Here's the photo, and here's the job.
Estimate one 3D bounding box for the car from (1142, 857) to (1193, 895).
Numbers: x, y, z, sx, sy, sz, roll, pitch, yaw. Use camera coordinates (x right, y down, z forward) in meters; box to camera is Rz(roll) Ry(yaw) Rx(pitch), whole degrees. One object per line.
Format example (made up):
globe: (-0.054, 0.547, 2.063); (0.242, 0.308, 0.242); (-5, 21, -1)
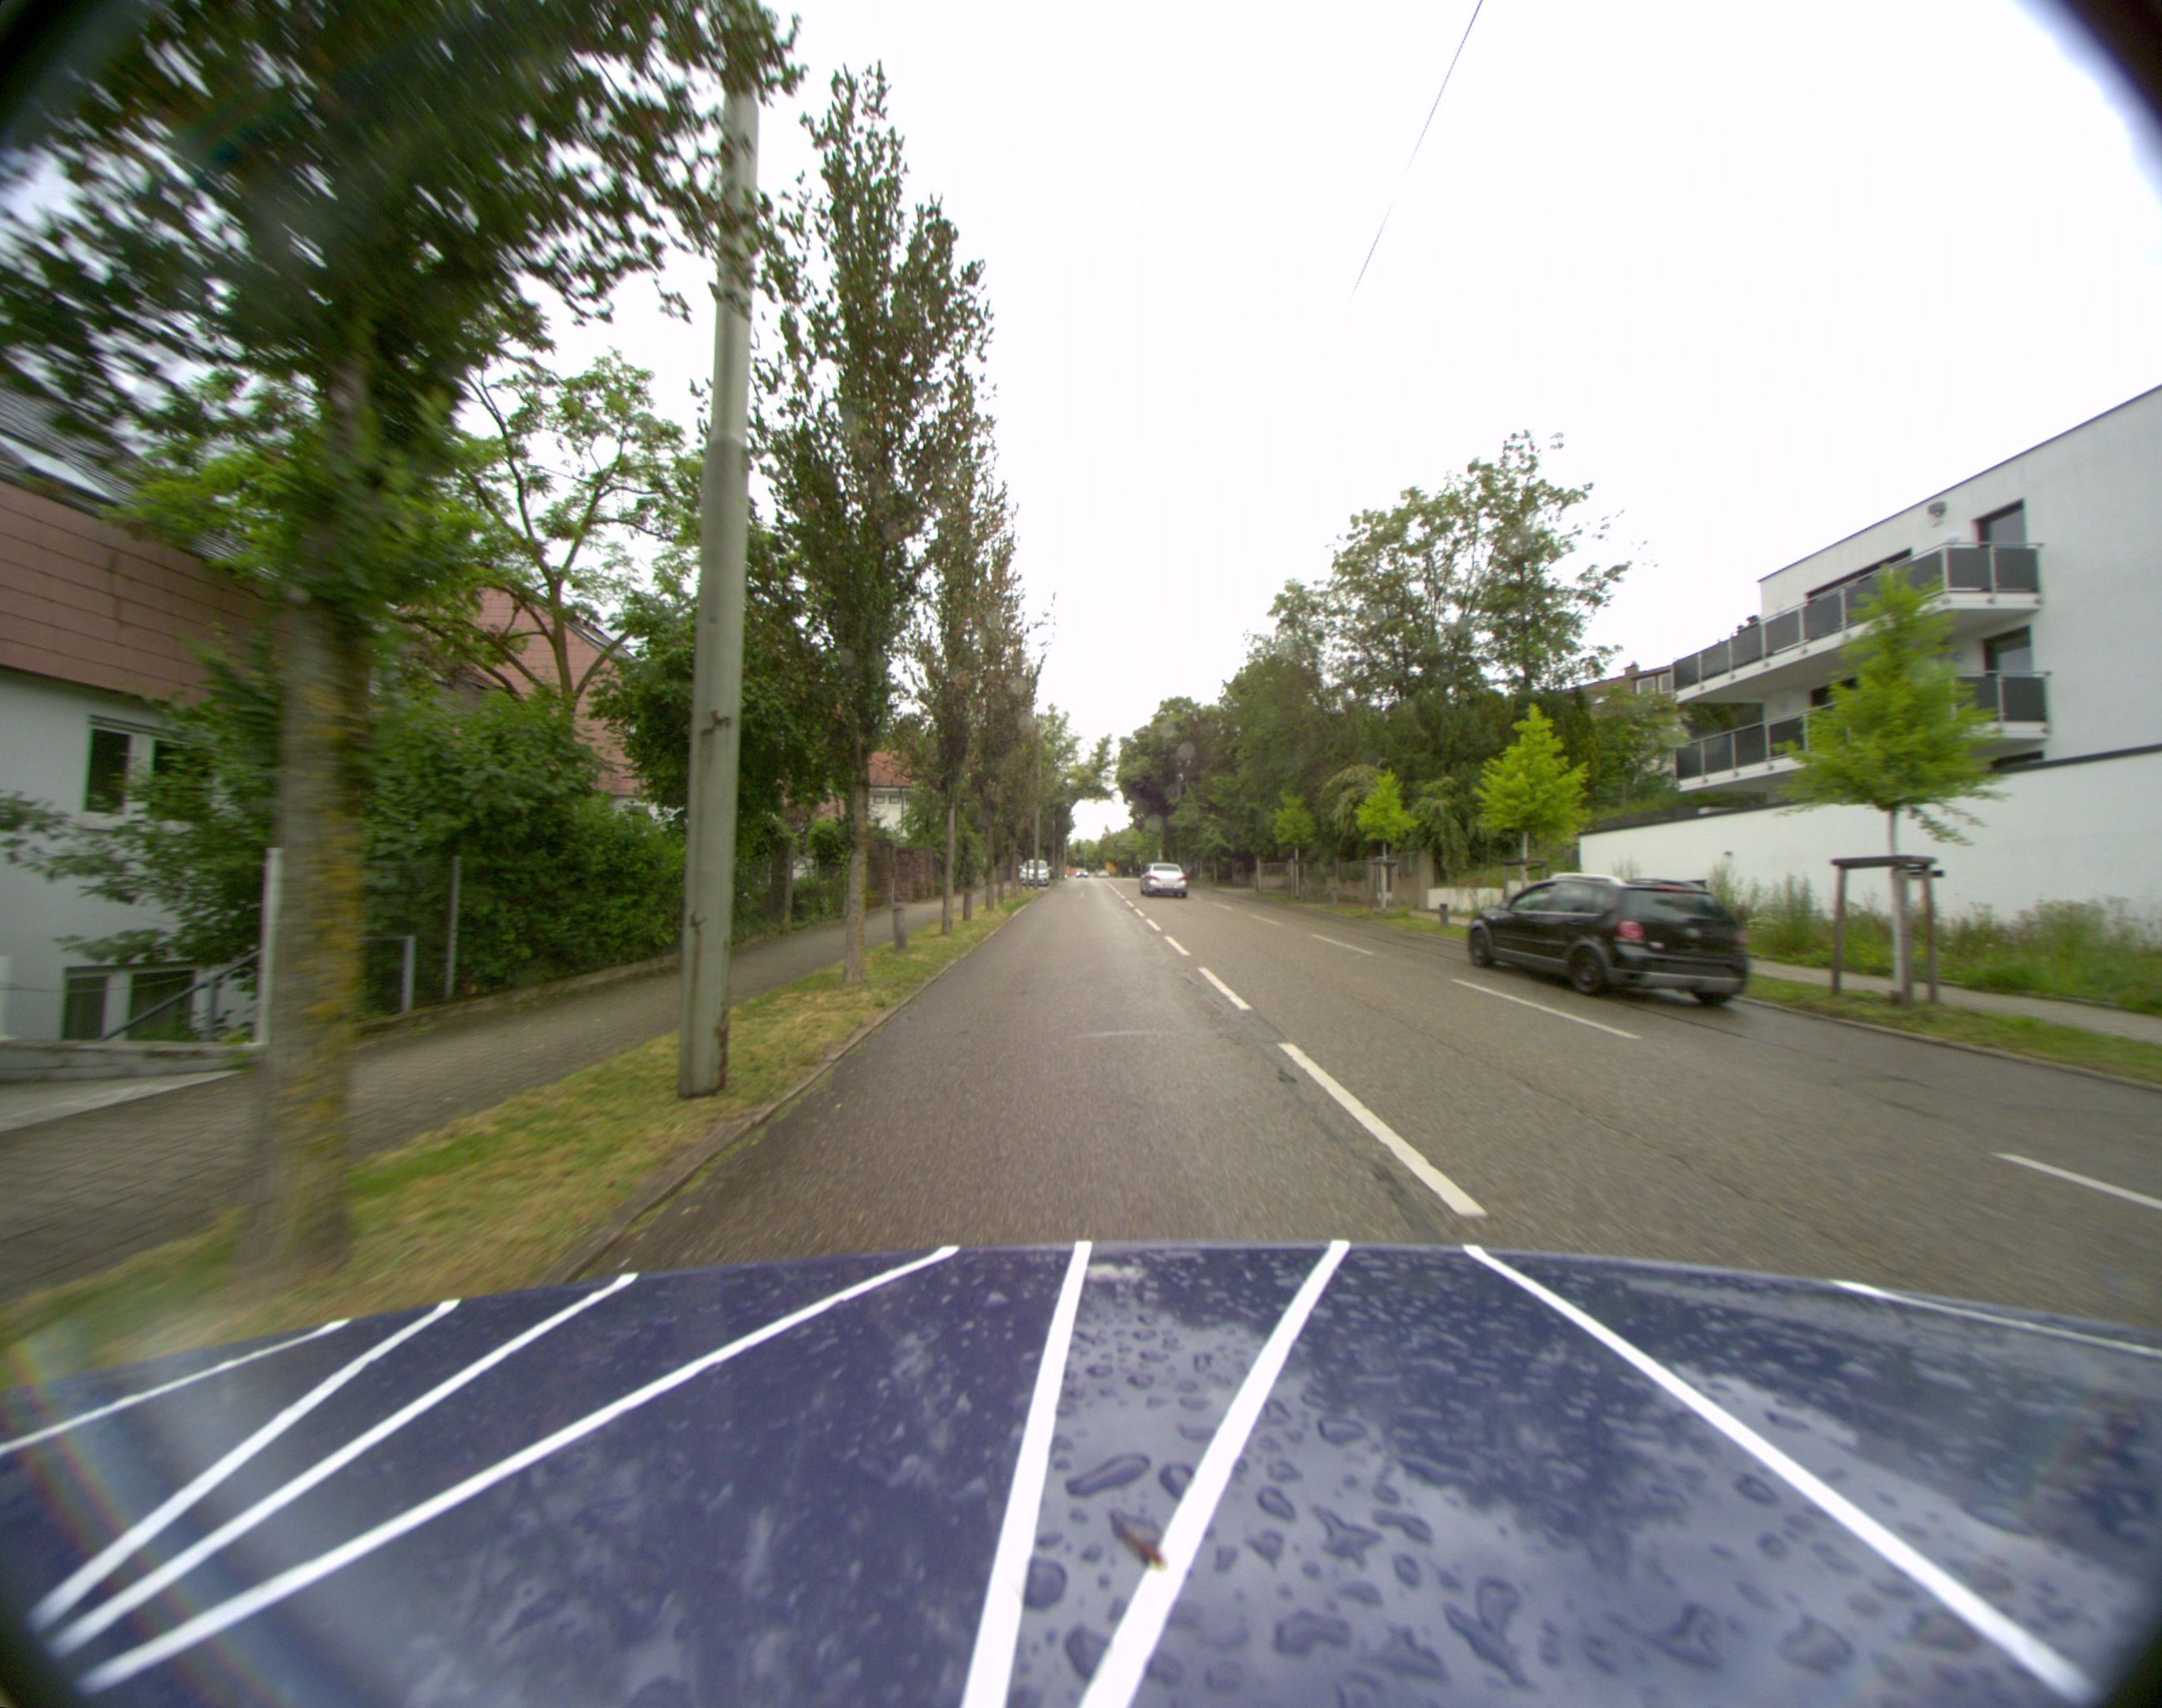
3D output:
car: (3.669, 0.908, 32.849); (1.766, 1.477, 4.000); (1, 0, 0)

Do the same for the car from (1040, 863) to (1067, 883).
car: (-2.248, 1.588, 62.873); (1.923, 1.557, 4.221); (2, -2, 1)

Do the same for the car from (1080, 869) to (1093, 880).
car: (0.930, 3.438, 128.950); (1.998, 1.673, 4.002); (-3, -1, 3)

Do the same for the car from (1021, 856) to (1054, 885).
car: (-2.636, 0.993, 46.801); (1.829, 1.620, 3.999); (2, 0, -1)

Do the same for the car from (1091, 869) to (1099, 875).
car: (3.421, 4.465, 190.570); (1.876, 1.539, 4.001); (2, -1, 1)

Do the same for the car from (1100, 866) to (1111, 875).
car: (4.213, 2.848, 131.273); (1.798, 1.500, 4.093); (0, 0, 0)

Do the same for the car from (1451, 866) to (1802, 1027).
car: (6.791, 1.025, 10.091); (1.750, 1.540, 3.917); (3, 0, -1)
